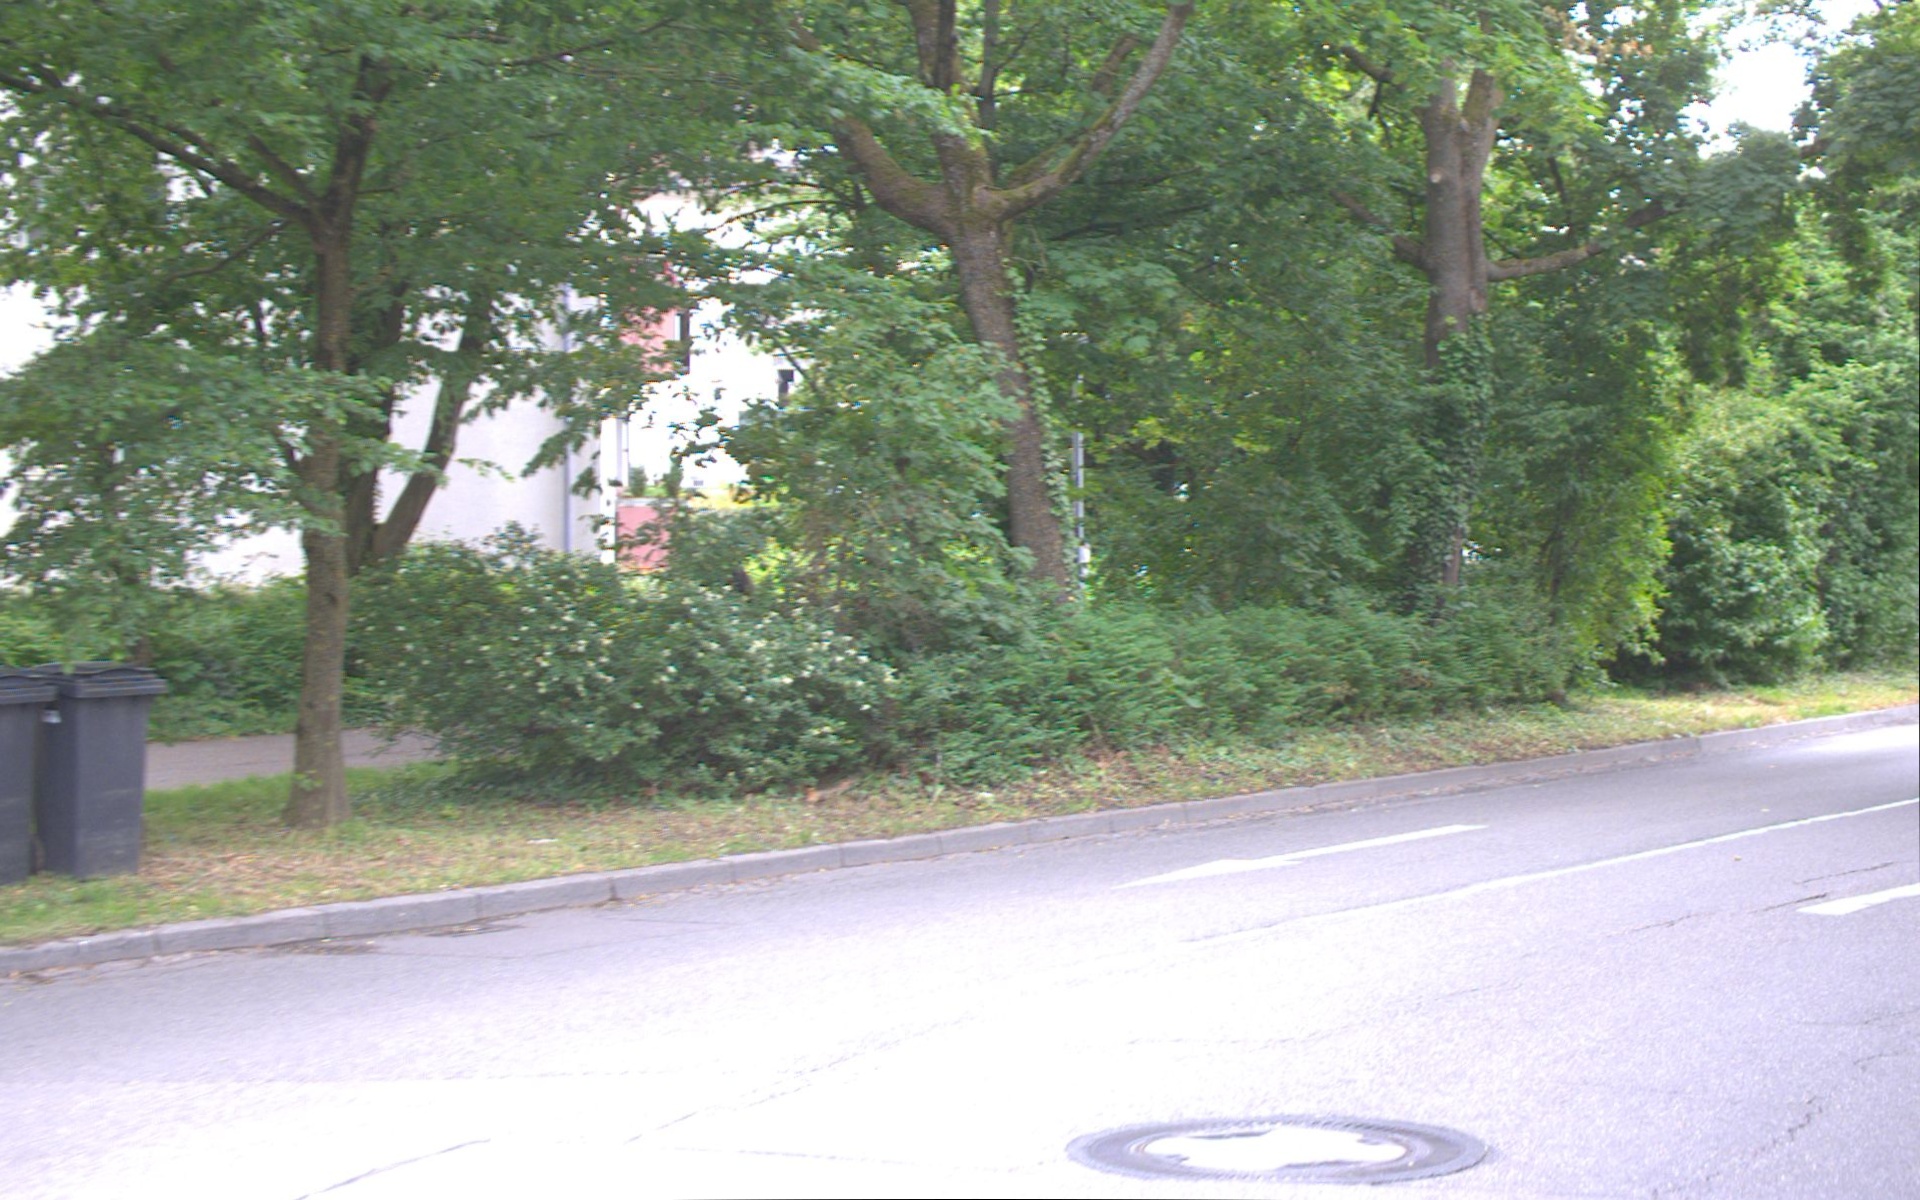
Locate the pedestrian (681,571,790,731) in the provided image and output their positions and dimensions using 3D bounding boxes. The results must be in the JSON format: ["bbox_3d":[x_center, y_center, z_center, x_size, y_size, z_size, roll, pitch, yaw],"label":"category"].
[{"bbox_3d":[-2.179,0.483,33.368,0.609,1.495,0.870,4,3,31],"label":"pedestrian"}]

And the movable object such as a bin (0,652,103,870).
[{"bbox_3d":[-4.039,0.673,14.564,0.576,0.863,0.600,0,3,-38],"label":"movable object such as a bin"}]

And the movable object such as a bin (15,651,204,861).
[{"bbox_3d":[-3.692,0.666,14.911,0.576,0.842,0.600,0,3,-38],"label":"movable object such as a bin"}]
